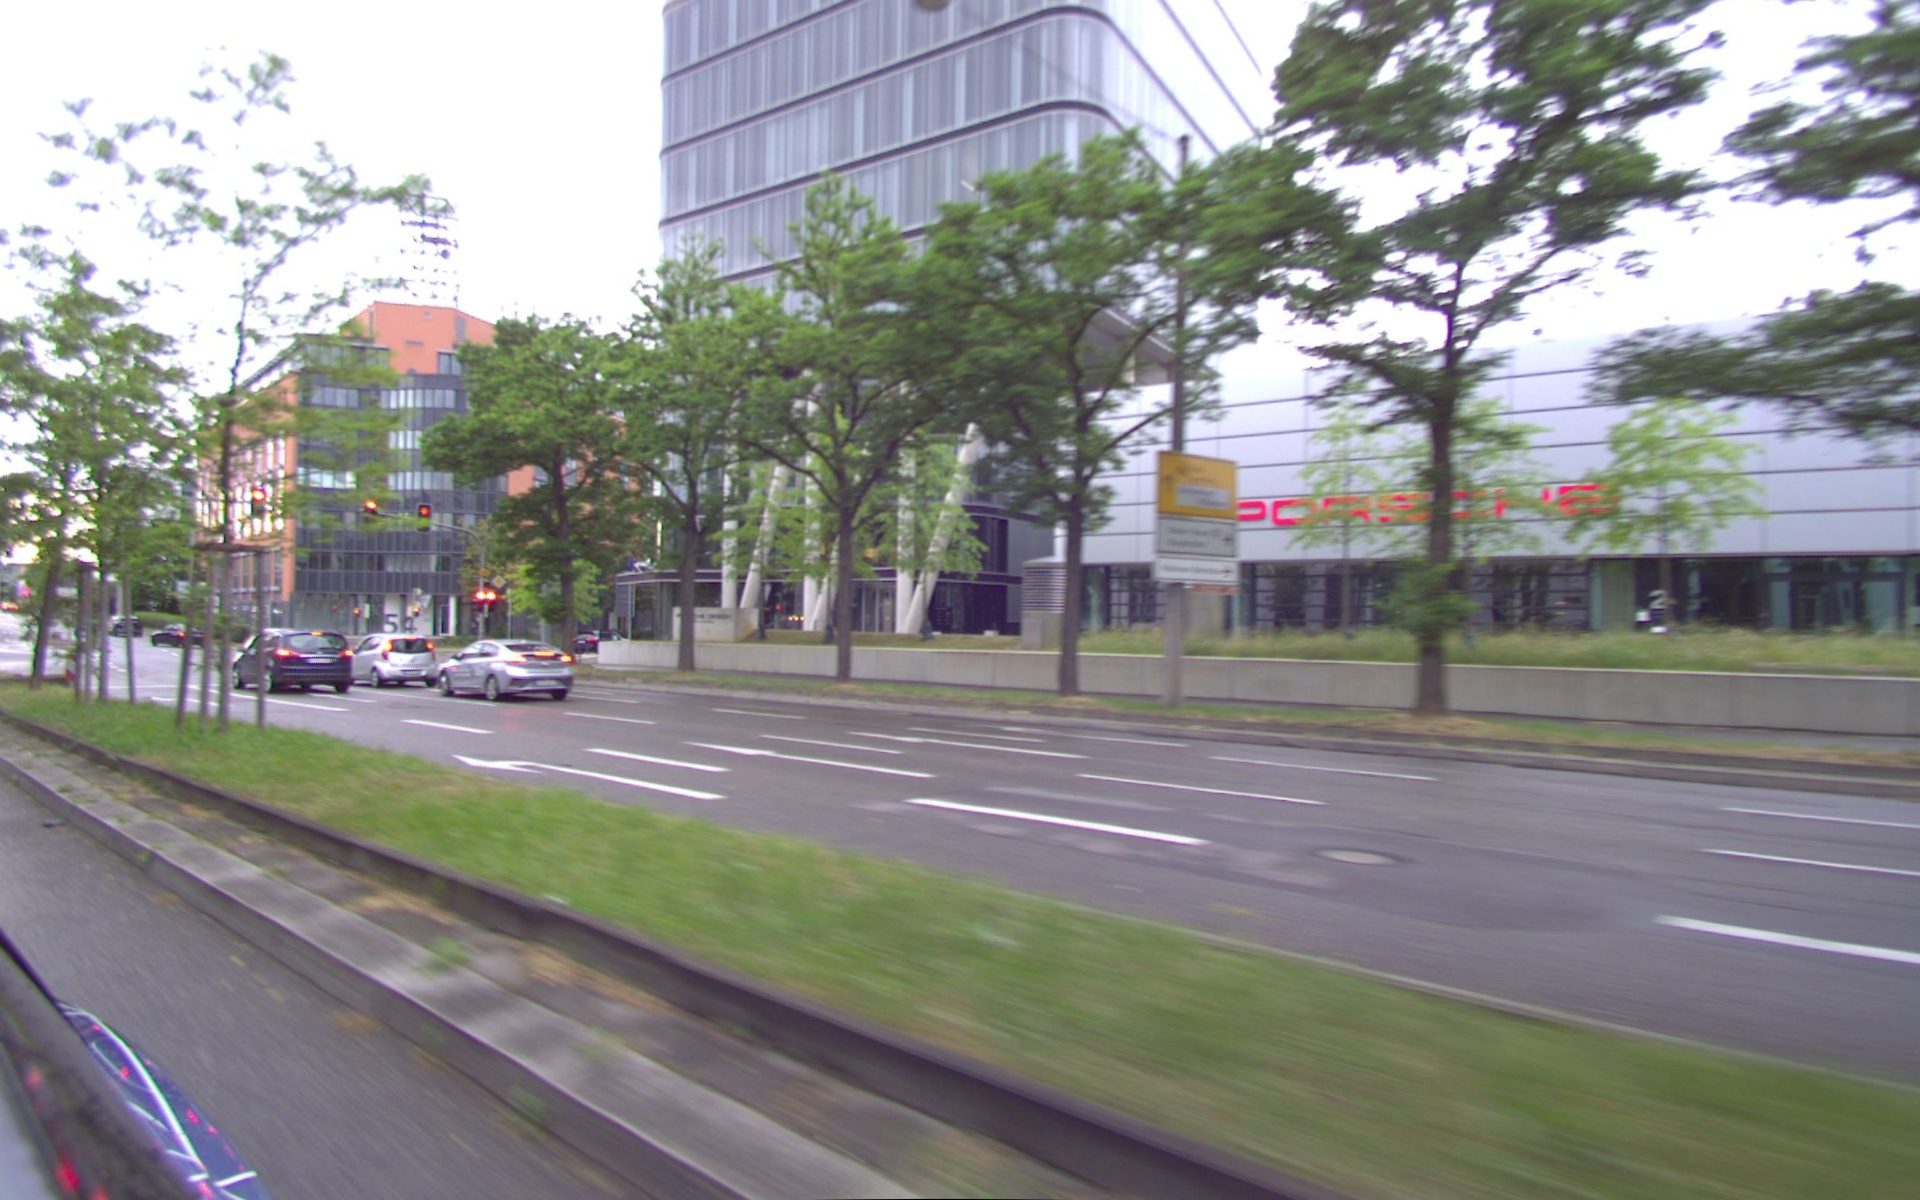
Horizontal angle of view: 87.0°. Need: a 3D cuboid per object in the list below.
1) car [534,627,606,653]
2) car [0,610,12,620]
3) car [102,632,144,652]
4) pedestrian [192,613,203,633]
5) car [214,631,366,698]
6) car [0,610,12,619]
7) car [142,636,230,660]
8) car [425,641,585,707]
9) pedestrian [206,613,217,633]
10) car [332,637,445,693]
[{"bbox_3d":[-26.928,2.714,70.086,1.980,1.679,5.402,0,-1,12],"label":"car"},{"bbox_3d":[-158.582,2.514,167.710,4.000,1.580,1.743,0,-3,43],"label":"car"},{"bbox_3d":[-65.561,3.279,79.263,4.372,1.522,1.831,-1,-4,42],"label":"car"},{"bbox_3d":[-72.573,2.177,96.349,0.886,1.855,0.737,0,0,45],"label":"pedestrian"},{"bbox_3d":[-17.856,1.664,26.873,5.117,1.628,1.973,-2,-4,41],"label":"car"},{"bbox_3d":[-168.840,2.586,178.665,4.001,1.580,1.743,0,-3,44],"label":"car"},{"bbox_3d":[-47.730,2.949,62.449,3.943,1.373,1.853,2,-2,-1],"label":"car"},{"bbox_3d":[-11.229,1.771,24.810,4.653,1.422,1.795,-1,-4,42],"label":"car"},{"bbox_3d":[-71.573,2.192,96.734,0.886,1.855,0.737,0,0,45],"label":"pedestrian"},{"bbox_3d":[-16.950,1.880,29.959,3.815,1.532,1.731,-1,-3,41],"label":"car"}]
